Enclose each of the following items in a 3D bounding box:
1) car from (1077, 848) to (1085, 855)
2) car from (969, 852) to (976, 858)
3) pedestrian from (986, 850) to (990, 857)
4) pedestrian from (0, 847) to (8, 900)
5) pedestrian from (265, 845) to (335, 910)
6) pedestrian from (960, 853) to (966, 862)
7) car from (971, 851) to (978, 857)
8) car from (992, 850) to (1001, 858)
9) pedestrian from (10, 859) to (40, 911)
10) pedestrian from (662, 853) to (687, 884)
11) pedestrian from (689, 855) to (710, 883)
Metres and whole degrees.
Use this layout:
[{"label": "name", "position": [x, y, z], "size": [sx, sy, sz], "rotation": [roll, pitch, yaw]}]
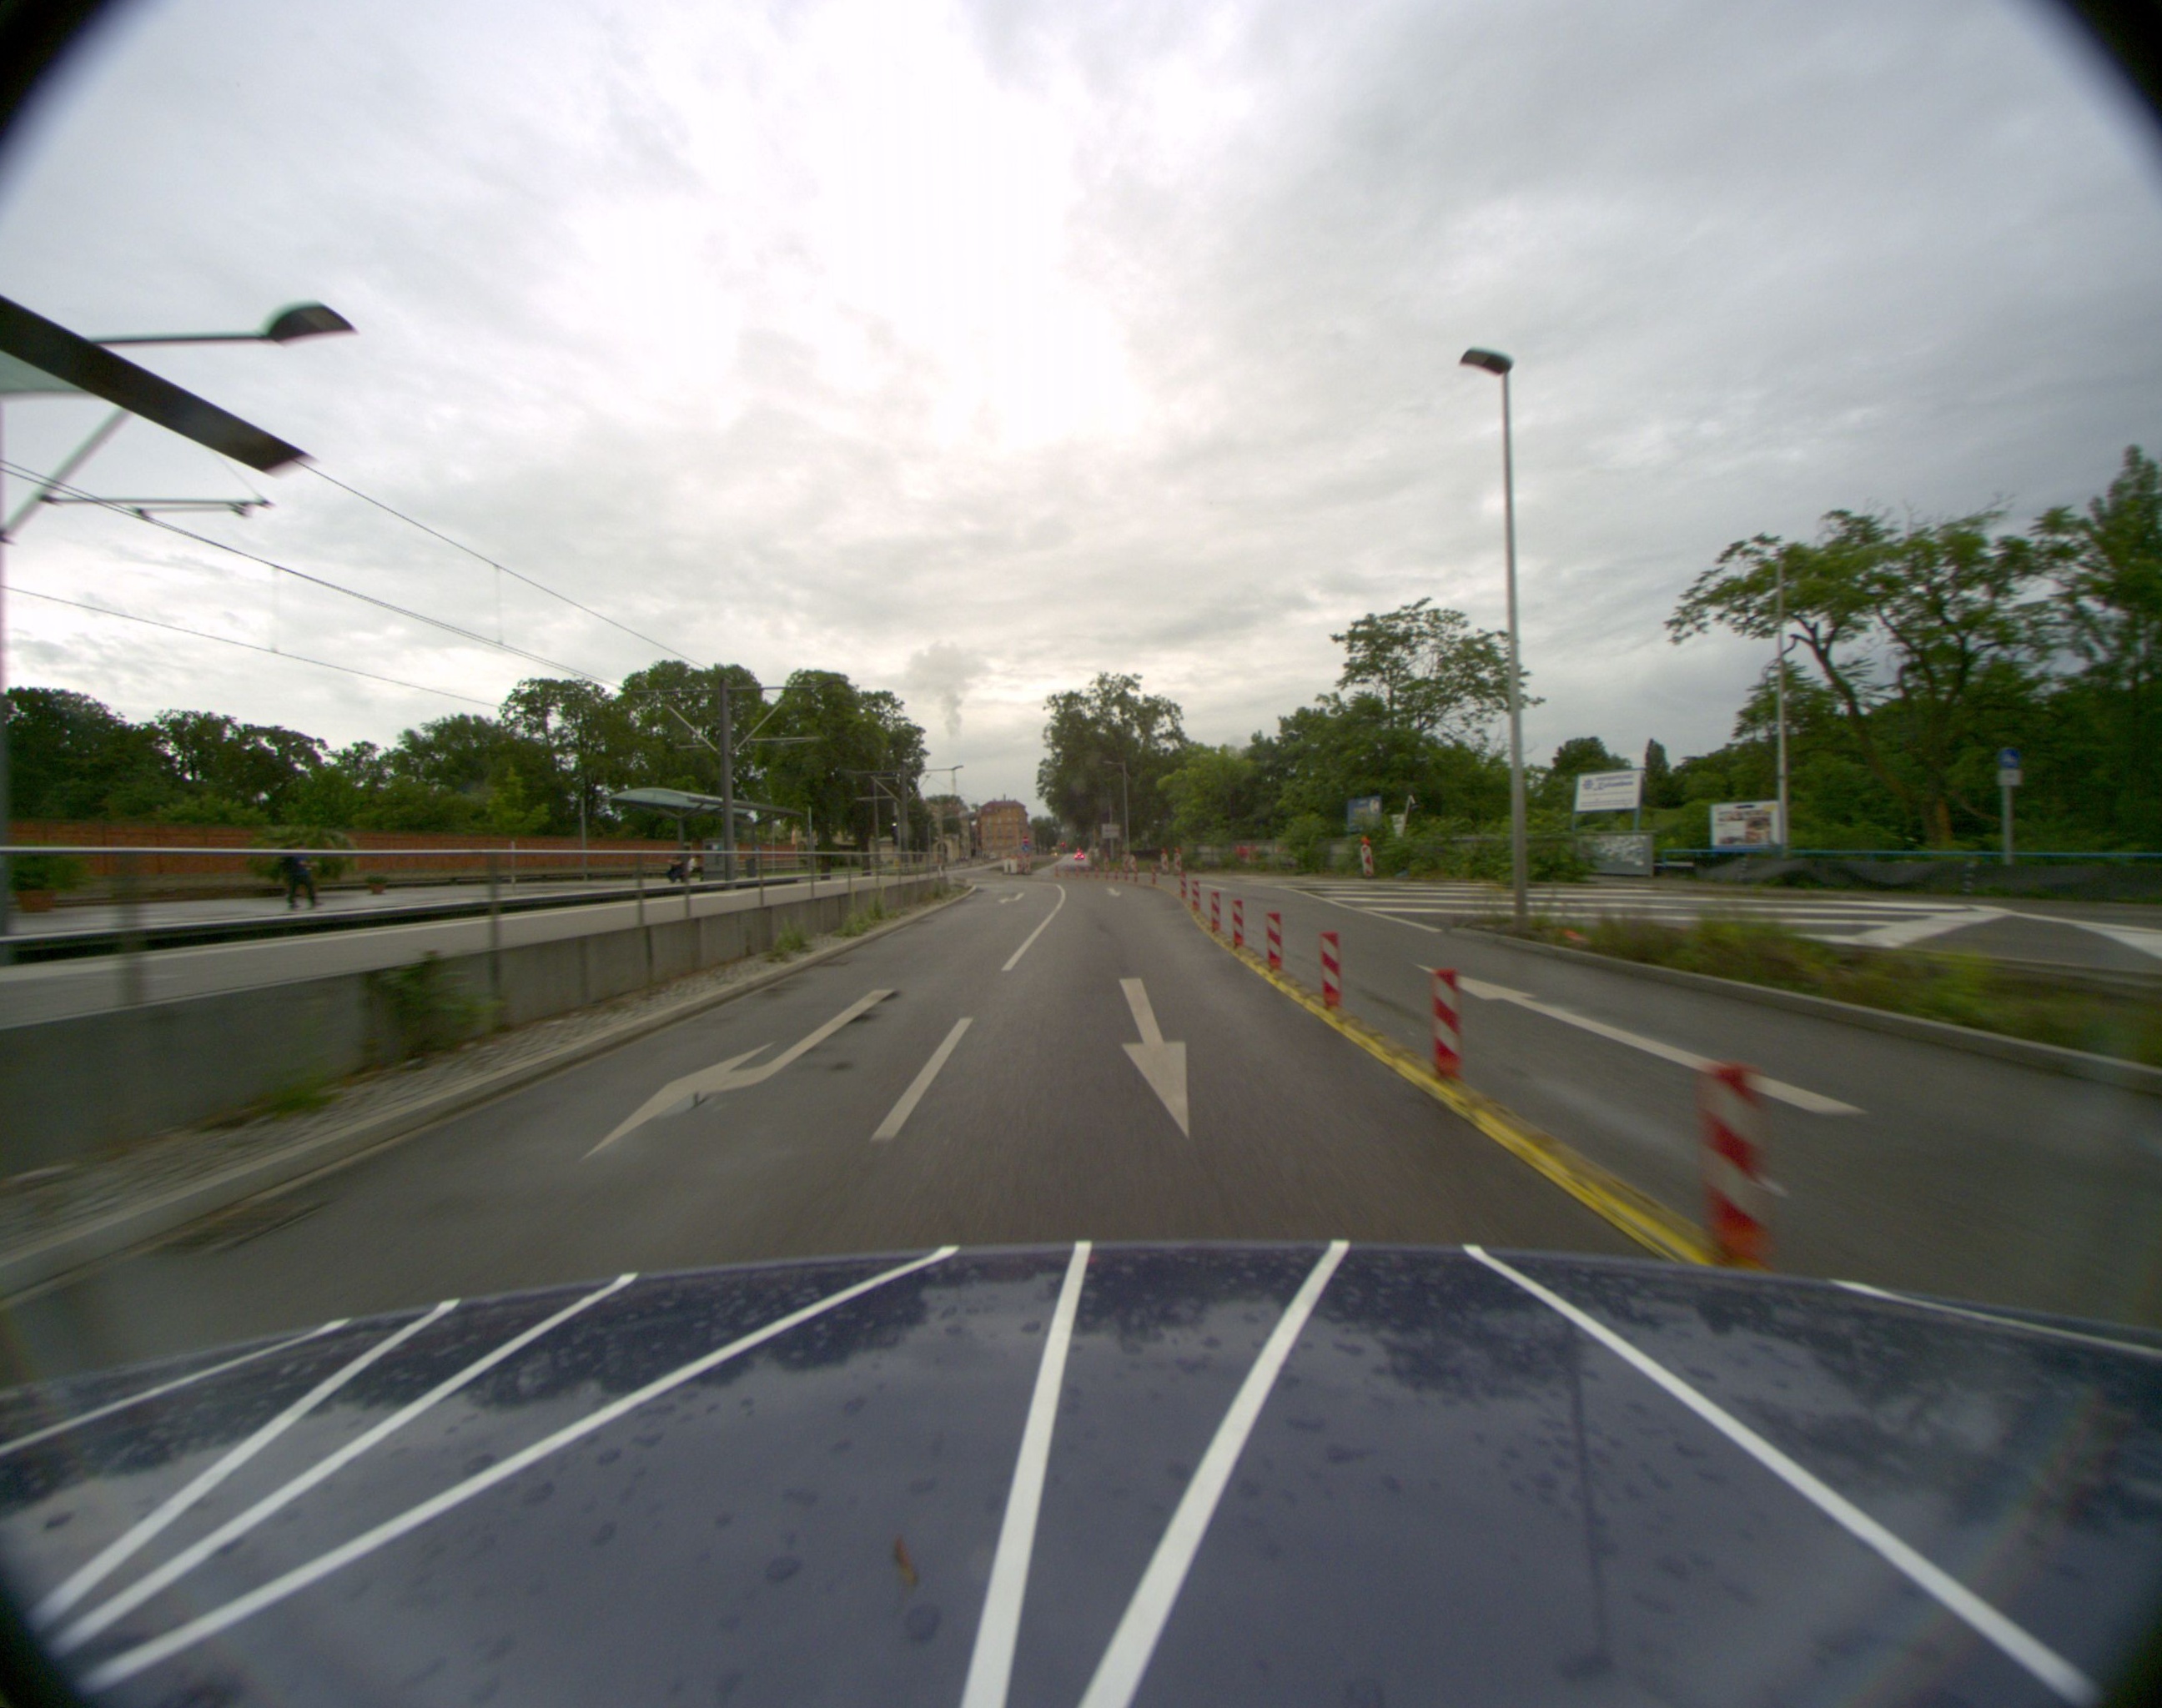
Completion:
[{"label": "car", "position": [-0.018, -0.516, 159.984], "size": [1.713, 1.490, 4.718], "rotation": [-2, 1, -1]}, {"label": "car", "position": [-30.535, 0.205, 213.472], "size": [1.831, 1.573, 3.997], "rotation": [-2, 1, -6]}, {"label": "pedestrian", "position": [-24.710, -0.208, 202.052], "size": [0.783, 1.797, 0.696], "rotation": [-5, 2, -41]}, {"label": "pedestrian", "position": [-34.712, 0.651, 23.967], "size": [0.532, 1.701, 0.695], "rotation": [-4, 2, 12]}, {"label": "pedestrian", "position": [-21.961, 0.636, 21.396], "size": [0.722, 1.780, 1.182], "rotation": [0, 0, 1]}, {"label": "pedestrian", "position": [-22.488, 0.698, 144.443], "size": [0.863, 1.581, 0.669], "rotation": [0, 1, 26]}, {"label": "car", "position": [-31.516, -0.080, 224.298], "size": [1.831, 1.573, 3.997], "rotation": [-2, 1, -6]}, {"label": "car", "position": [-21.657, -0.014, 195.048], "size": [1.844, 1.630, 4.140], "rotation": [-5, 1, -5]}, {"label": "pedestrian", "position": [-34.273, 1.009, 24.667], "size": [0.550, 1.647, 0.470], "rotation": [-1, 2, 35]}, {"label": "pedestrian", "position": [-16.991, 0.595, 31.765], "size": [0.520, 1.206, 0.782], "rotation": [-6, 2, -4]}, {"label": "pedestrian", "position": [-16.292, 0.625, 32.483], "size": [0.602, 1.113, 0.519], "rotation": [-7, 2, -16]}]
